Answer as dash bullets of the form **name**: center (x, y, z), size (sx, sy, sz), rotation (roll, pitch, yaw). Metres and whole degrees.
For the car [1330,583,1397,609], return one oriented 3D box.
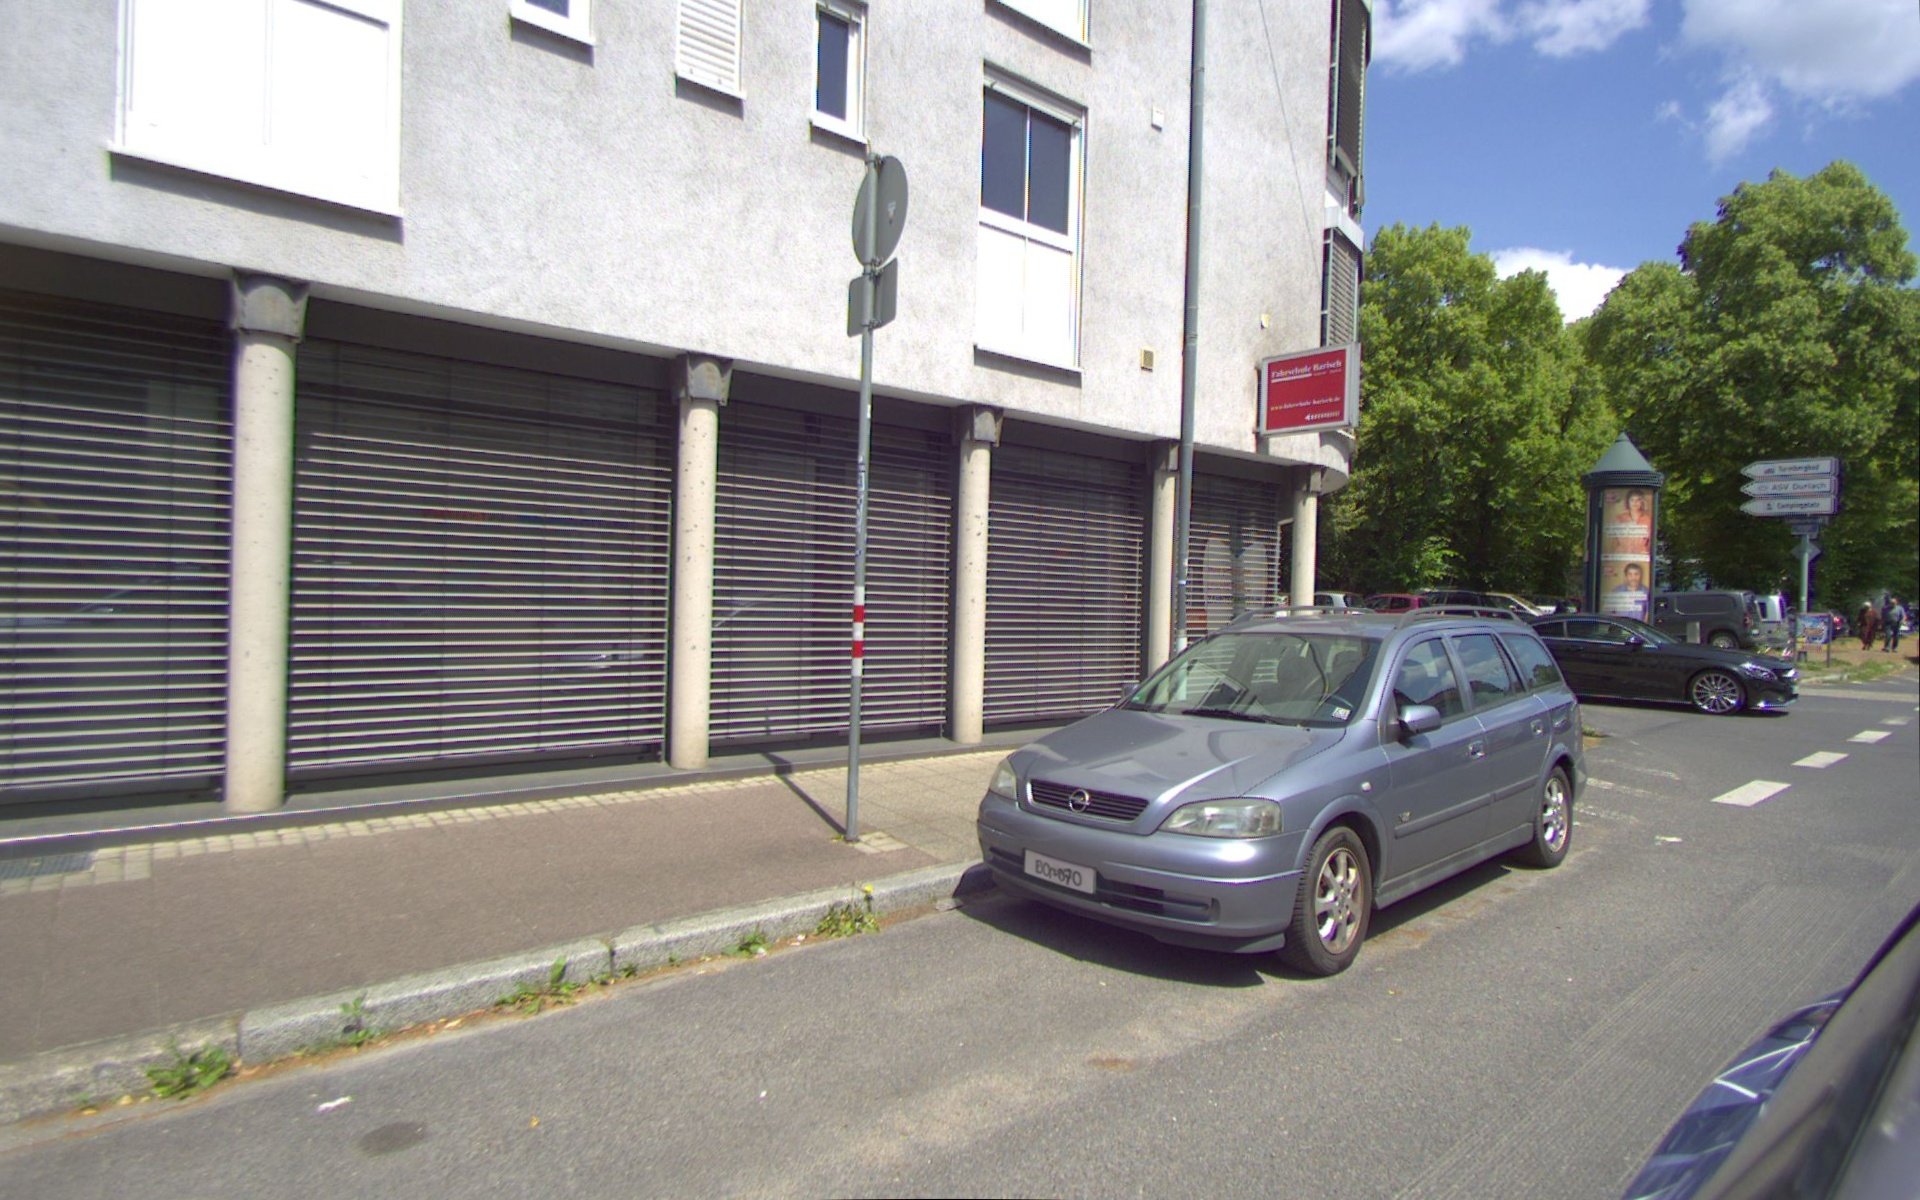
- **car**: center (26.893, -0.284, 67.587), size (1.705, 1.586, 3.810), rotation (1, 2, -36)

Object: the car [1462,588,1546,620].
- **car**: center (30.832, 0.190, 57.399), size (1.706, 1.607, 3.809), rotation (1, 2, -38)

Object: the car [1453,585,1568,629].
- **car**: center (23.802, 0.257, 43.850), size (1.652, 1.661, 3.994), rotation (0, 2, -42)

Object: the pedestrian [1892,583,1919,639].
- **pedestrian**: center (30.684, 0.353, 32.795), size (0.724, 1.786, 0.618), rotation (1, 0, -41)

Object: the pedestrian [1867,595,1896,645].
- **pedestrian**: center (30.281, 0.636, 33.256), size (0.724, 1.613, 0.618), rotation (0, 0, -41)

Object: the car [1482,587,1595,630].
- **car**: center (25.864, 0.333, 45.324), size (1.772, 1.682, 3.998), rotation (0, 2, -38)

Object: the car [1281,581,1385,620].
- **car**: center (15.933, -0.002, 43.310), size (1.708, 1.477, 3.805), rotation (1, 2, -41)

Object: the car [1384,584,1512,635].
- **car**: center (18.504, 0.305, 38.489), size (1.673, 1.699, 3.992), rotation (0, 2, -43)

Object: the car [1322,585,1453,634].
- **car**: center (15.376, 0.298, 36.537), size (1.652, 1.547, 3.994), rotation (0, 2, -42)

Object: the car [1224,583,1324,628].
- **car**: center (12.262, 0.166, 39.646), size (1.564, 1.573, 3.386), rotation (0, 2, -42)

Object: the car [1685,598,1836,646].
- **car**: center (28.777, 0.749, 36.464), size (1.639, 1.446, 3.997), rotation (1, 2, -39)

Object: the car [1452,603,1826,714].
- **car**: center (10.537, 0.799, 15.995), size (1.966, 1.382, 4.588), rotation (1, 1, -42)

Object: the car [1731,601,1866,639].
- **car**: center (34.293, 0.787, 41.482), size (1.686, 1.492, 3.996), rotation (0, 0, -38)

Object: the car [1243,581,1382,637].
- **car**: center (11.503, 0.250, 33.231), size (1.652, 1.573, 3.994), rotation (0, 2, -42)

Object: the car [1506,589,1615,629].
- **car**: center (27.900, 0.394, 47.106), size (1.772, 1.606, 3.998), rotation (0, 2, -38)

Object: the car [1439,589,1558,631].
- **car**: center (22.162, 0.359, 41.773), size (1.652, 1.501, 3.994), rotation (0, 2, -42)

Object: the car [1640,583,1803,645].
- **car**: center (23.199, 0.383, 30.915), size (1.636, 1.688, 3.766), rotation (1, 2, -44)

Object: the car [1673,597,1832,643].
- **car**: center (26.715, 0.624, 34.218), size (1.777, 1.416, 3.993), rotation (1, 0, -42)

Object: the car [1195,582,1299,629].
- **car**: center (10.706, 0.170, 37.880), size (1.564, 1.573, 3.386), rotation (0, 2, -42)

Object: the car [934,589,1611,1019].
- **car**: center (1.941, 0.709, 5.478), size (4.072, 1.473, 1.680), rotation (1, 0, -42)

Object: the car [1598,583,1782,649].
- **car**: center (21.169, 0.405, 29.454), size (1.981, 1.773, 3.994), rotation (0, 1, -41)

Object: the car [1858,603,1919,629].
- **car**: center (52.384, 0.909, 56.131), size (3.834, 1.375, 1.605), rotation (1, 0, 42)

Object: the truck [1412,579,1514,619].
- **truck**: center (25.137, -0.081, 50.694), size (1.844, 1.837, 4.133), rotation (1, 2, -38)

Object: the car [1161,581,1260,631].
- **car**: center (8.881, 0.180, 35.990), size (1.564, 1.573, 3.068), rotation (0, 2, -42)

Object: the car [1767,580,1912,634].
- **car**: center (39.185, 0.307, 45.175), size (2.068, 2.305, 4.611), rotation (1, -1, -40)

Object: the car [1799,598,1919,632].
- **car**: center (42.136, 0.675, 47.291), size (1.777, 1.513, 4.331), rotation (1, -1, -41)
